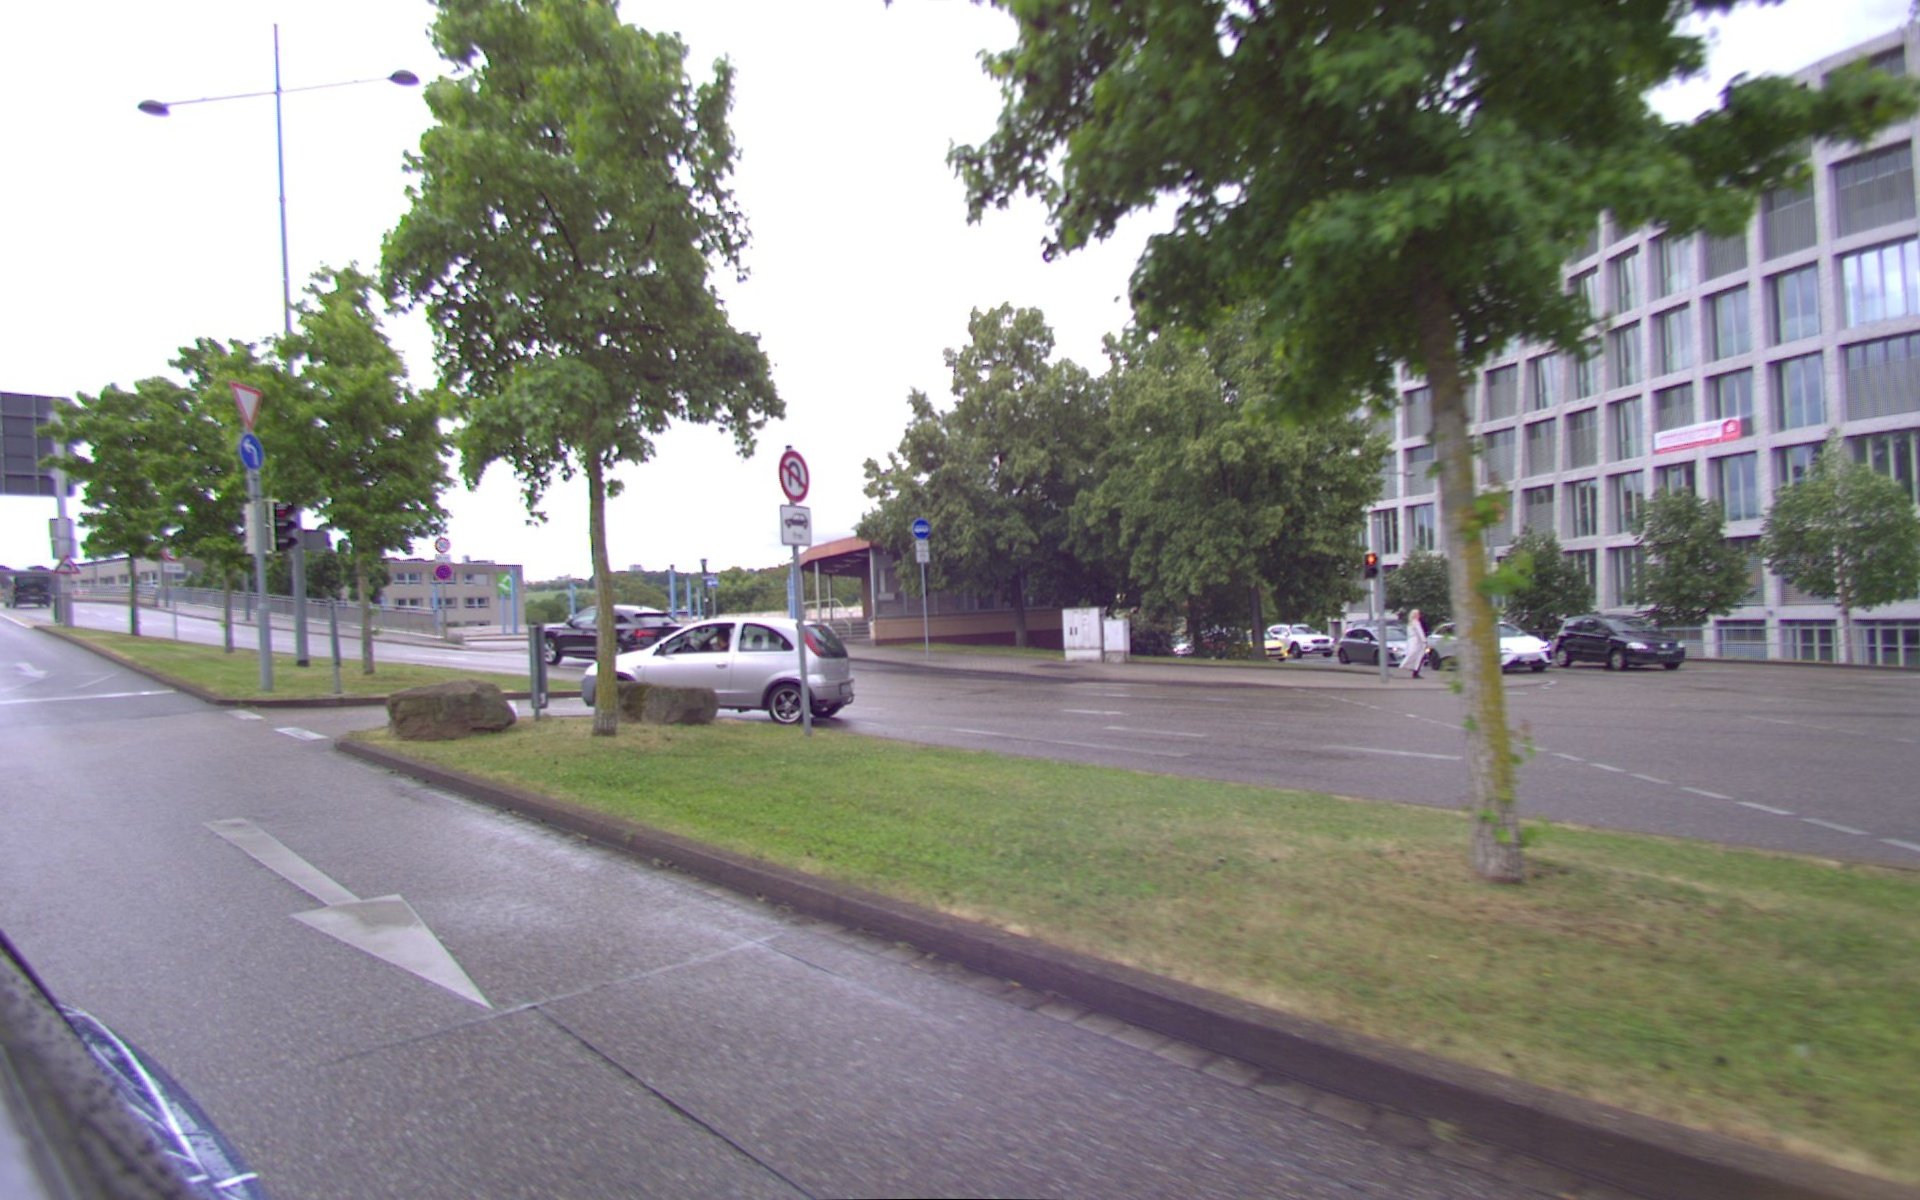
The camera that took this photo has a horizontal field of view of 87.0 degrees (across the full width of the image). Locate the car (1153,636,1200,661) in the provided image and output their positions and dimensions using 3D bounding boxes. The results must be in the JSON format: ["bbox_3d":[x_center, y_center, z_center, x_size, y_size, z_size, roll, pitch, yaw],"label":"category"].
[{"bbox_3d":[13.345,2.967,62.440,1.546,1.405,3.190,-1,-1,-14],"label":"car"}]

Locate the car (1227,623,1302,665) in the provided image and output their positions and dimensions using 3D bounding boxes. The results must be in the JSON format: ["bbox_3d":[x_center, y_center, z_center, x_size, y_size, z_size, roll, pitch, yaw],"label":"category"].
[{"bbox_3d":[13.420,1.918,44.817,1.700,1.711,3.659,-1,-1,-10],"label":"car"}]

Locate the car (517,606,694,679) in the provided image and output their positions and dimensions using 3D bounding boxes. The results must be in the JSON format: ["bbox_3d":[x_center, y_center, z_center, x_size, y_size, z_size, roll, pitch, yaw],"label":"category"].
[{"bbox_3d":[-9.485,1.059,26.953,4.843,1.674,1.893,1,1,33],"label":"car"}]

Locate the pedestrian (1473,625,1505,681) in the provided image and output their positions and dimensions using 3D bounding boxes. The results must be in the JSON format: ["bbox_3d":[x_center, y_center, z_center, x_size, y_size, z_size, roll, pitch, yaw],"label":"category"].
[{"bbox_3d":[12.708,1.255,24.309,0.629,1.302,0.646,0,-1,31],"label":"pedestrian"}]

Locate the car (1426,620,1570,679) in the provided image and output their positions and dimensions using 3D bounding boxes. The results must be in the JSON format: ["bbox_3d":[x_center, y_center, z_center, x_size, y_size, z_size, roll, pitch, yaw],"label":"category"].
[{"bbox_3d":[15.772,1.423,29.942,1.860,1.580,4.143,-1,-1,-2],"label":"car"}]

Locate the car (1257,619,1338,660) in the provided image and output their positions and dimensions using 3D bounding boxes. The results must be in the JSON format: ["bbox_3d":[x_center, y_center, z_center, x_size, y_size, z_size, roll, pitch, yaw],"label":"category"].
[{"bbox_3d":[16.279,1.889,49.023,1.700,1.832,4.440,-1,-1,-11],"label":"car"}]

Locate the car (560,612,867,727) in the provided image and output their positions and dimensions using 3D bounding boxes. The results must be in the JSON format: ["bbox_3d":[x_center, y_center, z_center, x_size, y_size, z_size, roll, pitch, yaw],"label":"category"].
[{"bbox_3d":[-3.348,0.923,14.032,3.834,1.459,1.632,-1,-2,10],"label":"car"}]

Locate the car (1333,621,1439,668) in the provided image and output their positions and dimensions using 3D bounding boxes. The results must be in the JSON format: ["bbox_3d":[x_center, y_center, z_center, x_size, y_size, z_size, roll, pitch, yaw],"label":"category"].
[{"bbox_3d":[15.033,1.552,35.948,1.702,1.519,4.060,-1,-1,-5],"label":"car"}]

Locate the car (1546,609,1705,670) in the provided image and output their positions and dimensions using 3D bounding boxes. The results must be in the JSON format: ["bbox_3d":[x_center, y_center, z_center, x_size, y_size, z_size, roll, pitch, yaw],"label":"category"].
[{"bbox_3d":[18.607,1.085,28.526,1.702,1.580,3.841,-1,-1,-4],"label":"car"}]

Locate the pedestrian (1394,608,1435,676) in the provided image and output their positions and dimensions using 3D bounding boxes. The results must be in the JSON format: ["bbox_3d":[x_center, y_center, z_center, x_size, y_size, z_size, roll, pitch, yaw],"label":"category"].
[{"bbox_3d":[10.833,1.001,24.117,0.643,1.582,0.632,1,-1,-7],"label":"pedestrian"}]

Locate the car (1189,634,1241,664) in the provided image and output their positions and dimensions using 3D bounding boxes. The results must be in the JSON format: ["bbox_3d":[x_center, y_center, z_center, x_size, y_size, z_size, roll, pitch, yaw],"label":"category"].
[{"bbox_3d":[14.216,2.737,56.584,1.547,1.564,3.189,-1,-1,-12],"label":"car"}]

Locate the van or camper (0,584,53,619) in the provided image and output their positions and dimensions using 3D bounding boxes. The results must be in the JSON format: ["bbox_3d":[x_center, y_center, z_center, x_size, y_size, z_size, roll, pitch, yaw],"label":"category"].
[{"bbox_3d":[-58.702,0.052,62.991,5.273,2.088,2.197,1,-1,36],"label":"van or camper"}]
